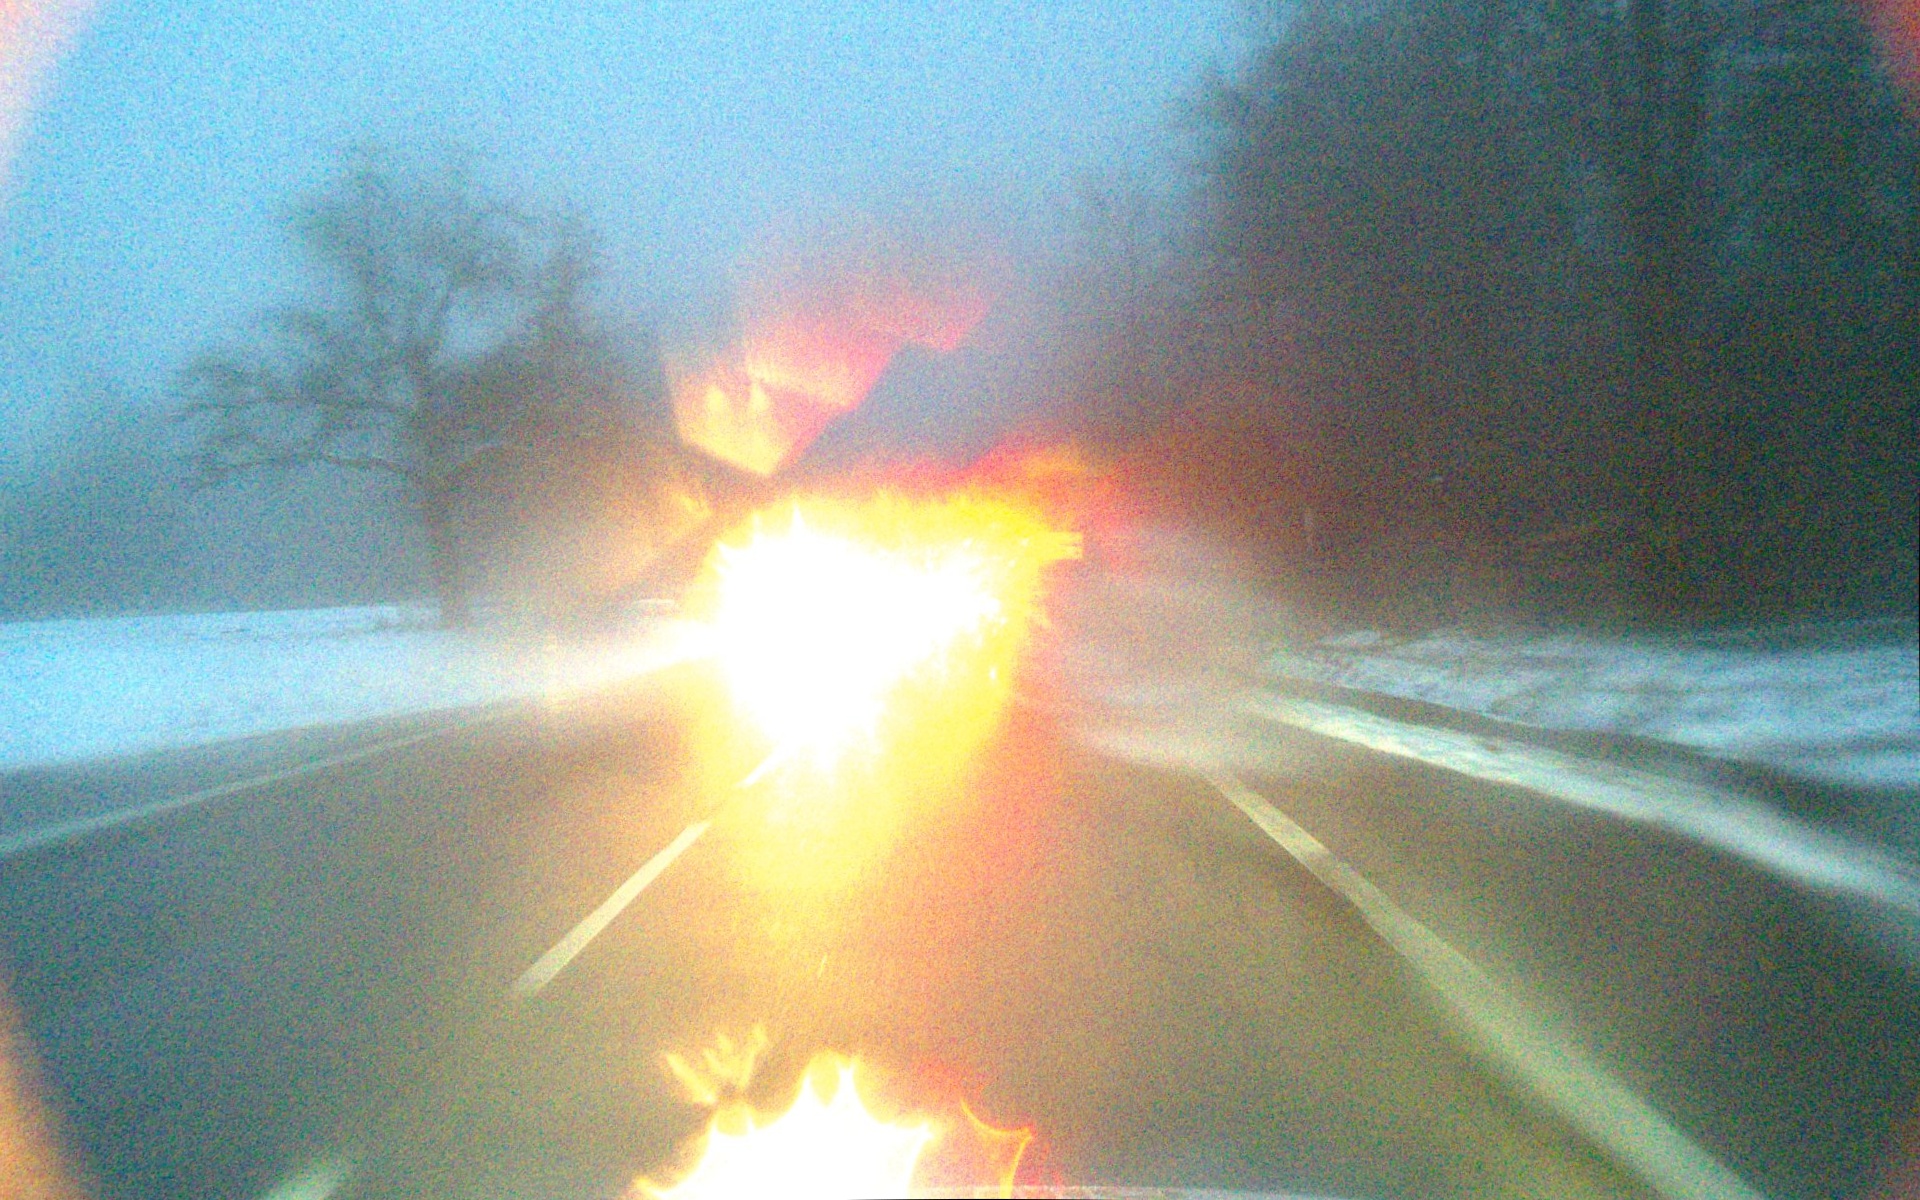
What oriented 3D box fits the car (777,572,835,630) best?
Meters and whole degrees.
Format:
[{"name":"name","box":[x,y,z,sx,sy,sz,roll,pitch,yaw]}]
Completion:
[{"name":"car","box":[-4.917,-0.006,53.031,1.718,1.722,4.422,-2,1,-5]}]

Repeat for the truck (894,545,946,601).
[{"name":"truck","box":[-2.115,-1.429,86.485,2.037,2.793,5.308,-1,1,-9]}]

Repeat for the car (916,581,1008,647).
[{"name":"car","box":[-0.014,0.284,37.861,1.883,1.299,3.999,-1,2,-3]}]
